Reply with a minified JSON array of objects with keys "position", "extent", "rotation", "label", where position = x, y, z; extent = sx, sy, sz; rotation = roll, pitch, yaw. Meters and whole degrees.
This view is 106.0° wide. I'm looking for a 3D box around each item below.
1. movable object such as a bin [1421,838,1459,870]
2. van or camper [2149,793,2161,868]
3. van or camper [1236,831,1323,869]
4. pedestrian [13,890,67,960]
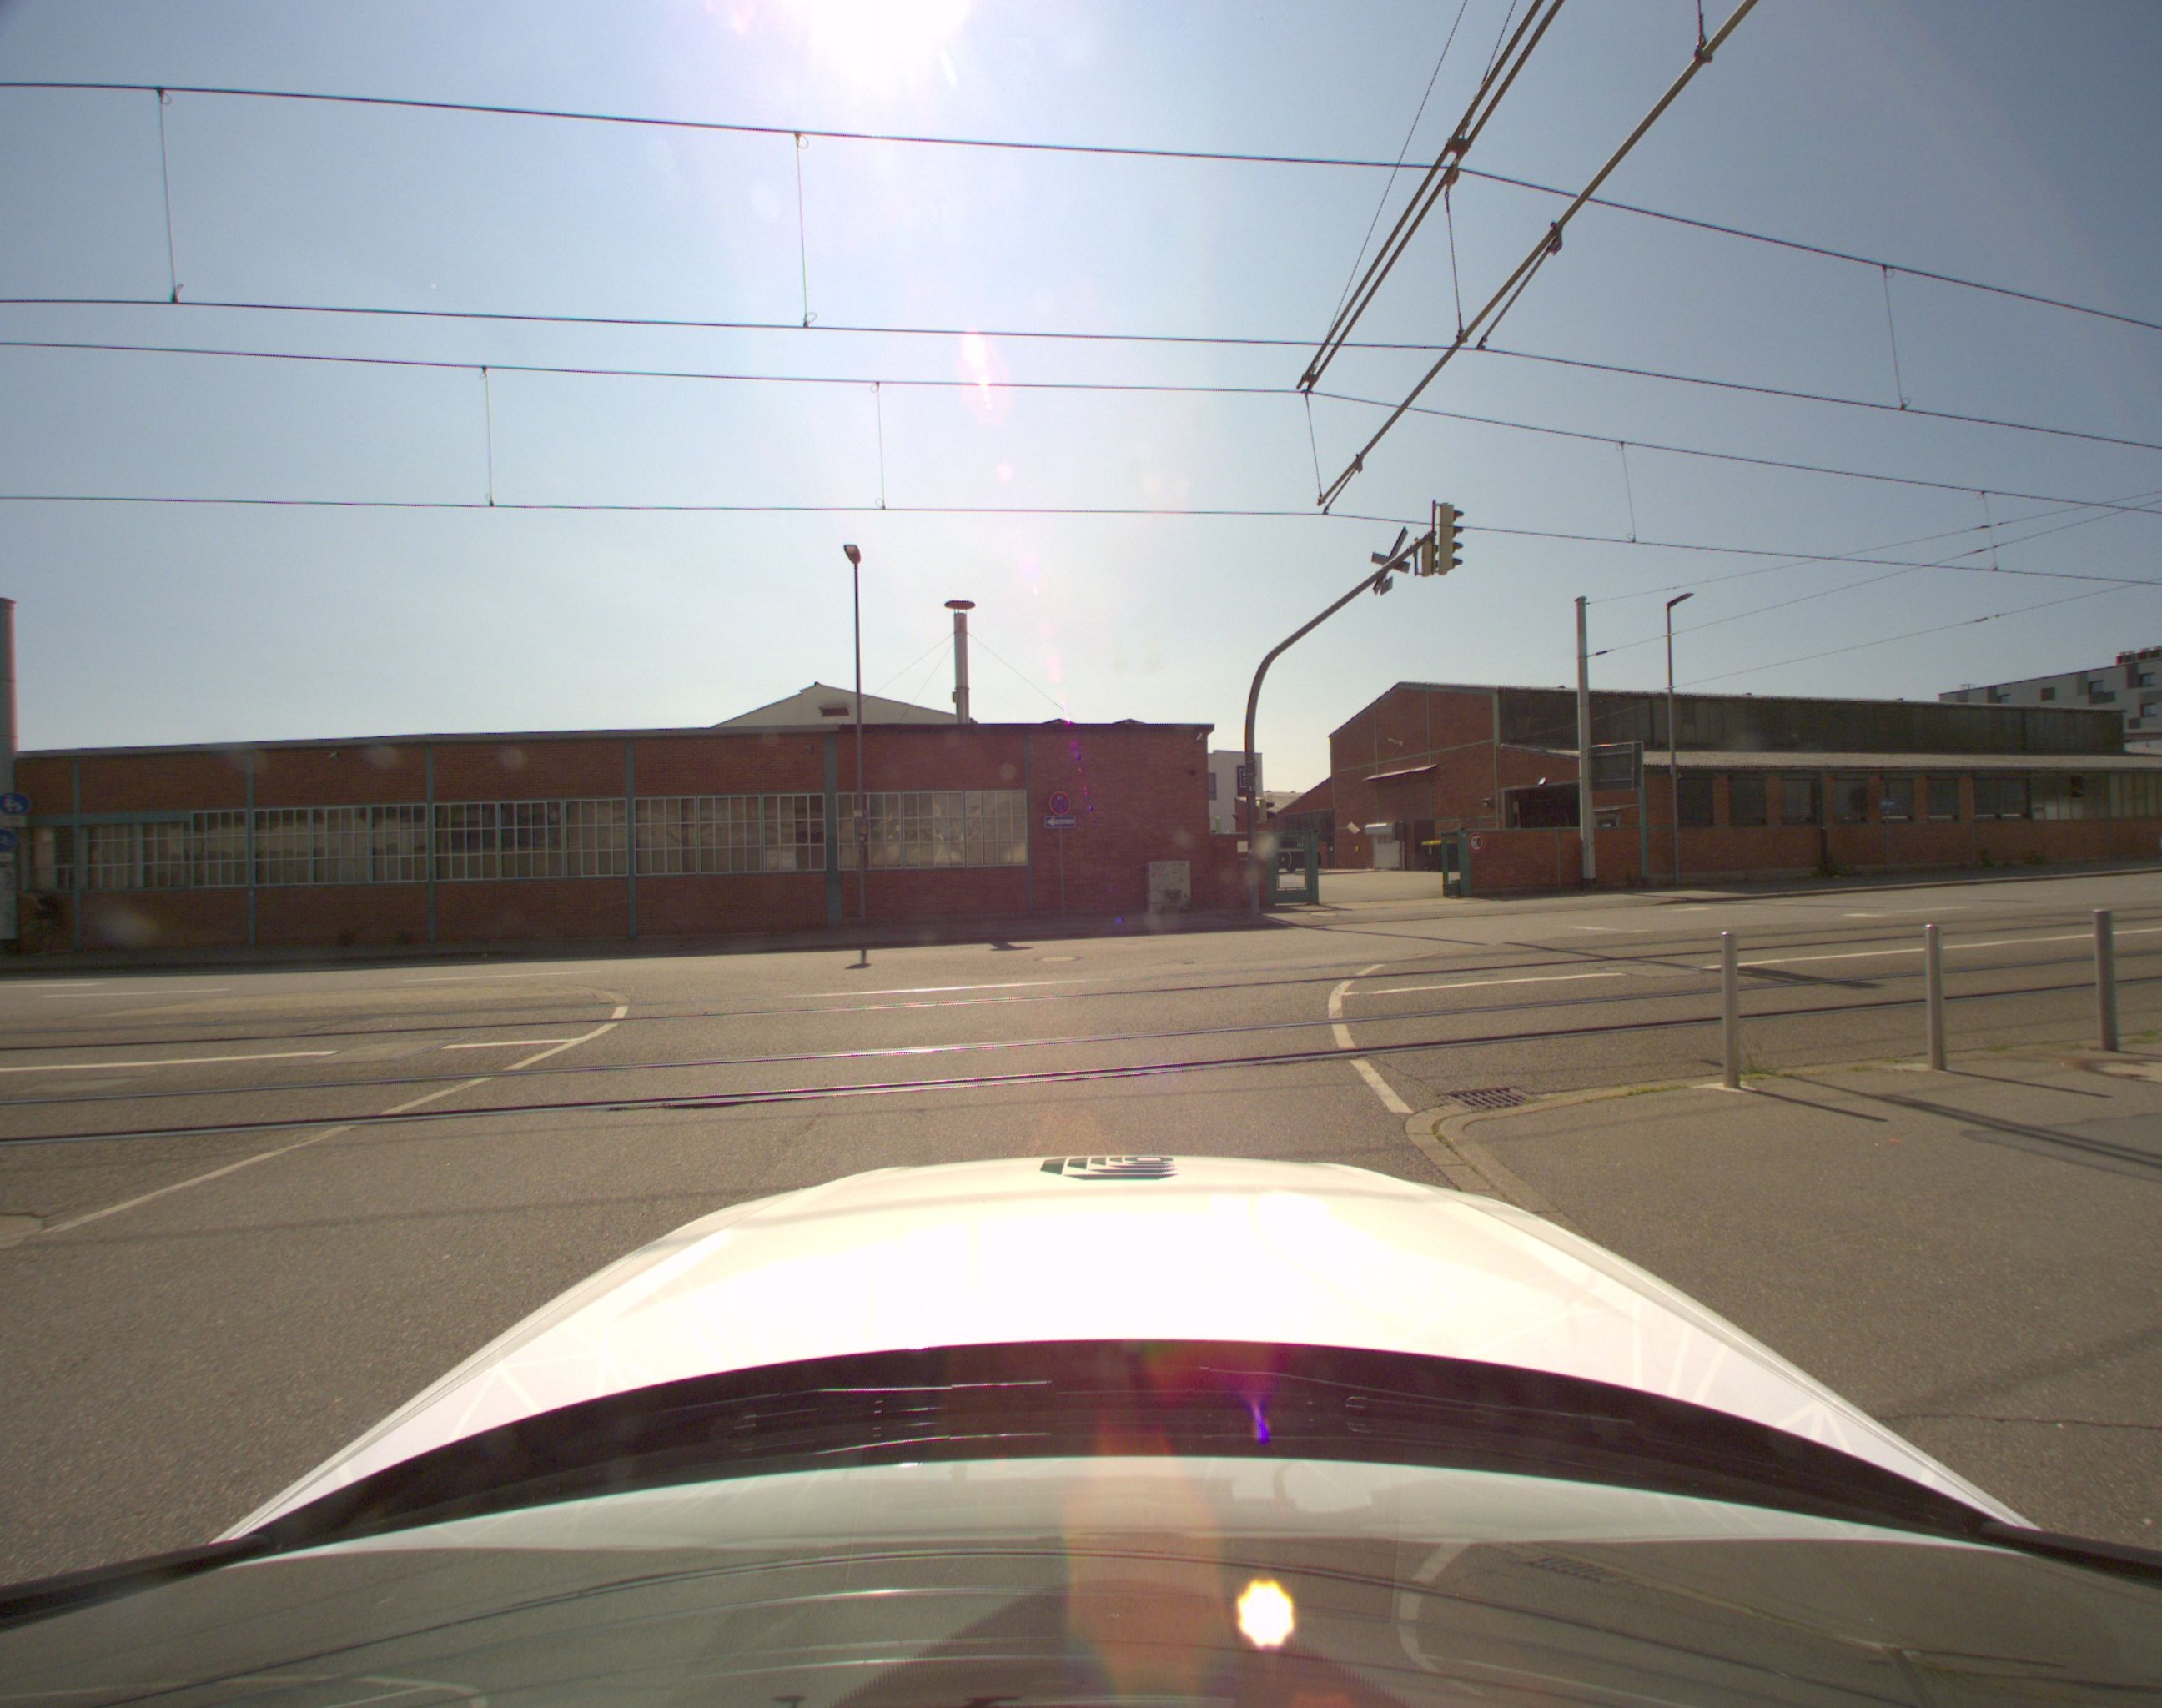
[{"position":[15.424,-0.009,35.027],"extent":[0.975,1.314,1.147],"rotation":[-3,0,-14],"label":"movable object such as a bin"},{"position":[39.213,-0.897,27.326],"extent":[5.861,2.534,2.033],"rotation":[-2,-1,-16],"label":"van or camper"},{"position":[10.463,-0.154,42.783],"extent":[4.437,1.900,1.979],"rotation":[1,-1,-33],"label":"van or camper"},{"position":[-26.868,1.814,21.026],"extent":[0.444,1.765,0.688],"rotation":[0,-1,13],"label":"pedestrian"}]
